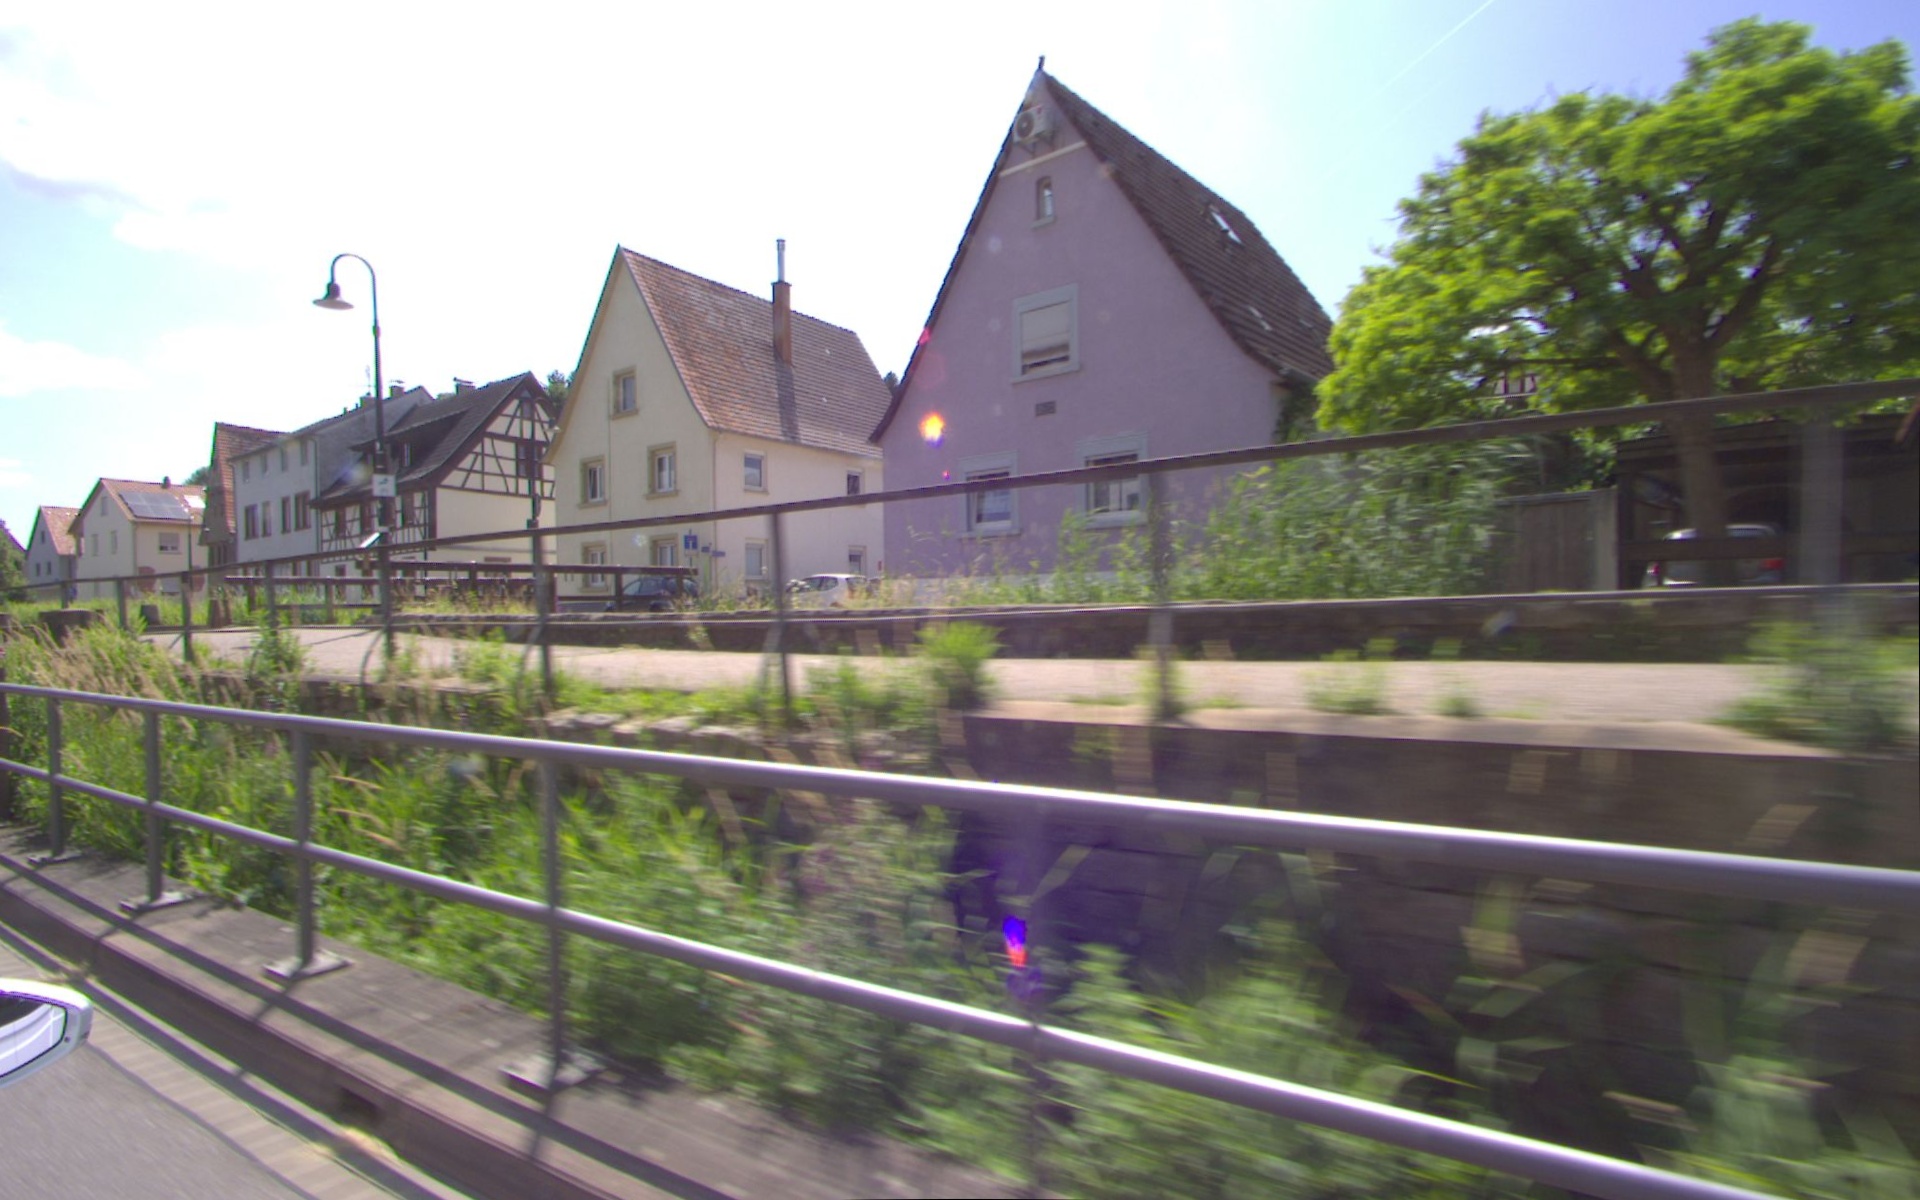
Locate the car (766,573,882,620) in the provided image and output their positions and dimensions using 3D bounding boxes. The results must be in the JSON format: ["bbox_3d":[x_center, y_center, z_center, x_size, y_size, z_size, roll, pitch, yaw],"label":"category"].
[{"bbox_3d":[-4.167,-0.101,30.641,3.198,1.343,1.661,-1,2,33],"label":"car"}]

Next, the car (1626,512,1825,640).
[{"bbox_3d":[10.721,-0.251,13.944,3.482,1.545,1.740,1,-1,-45],"label":"car"}]

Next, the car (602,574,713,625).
[{"bbox_3d":[-8.852,0.018,29.278,3.039,1.434,1.659,-1,-1,37],"label":"car"}]

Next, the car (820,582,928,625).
[{"bbox_3d":[-2.828,0.150,32.750,3.198,1.342,1.662,-1,-2,33],"label":"car"}]
